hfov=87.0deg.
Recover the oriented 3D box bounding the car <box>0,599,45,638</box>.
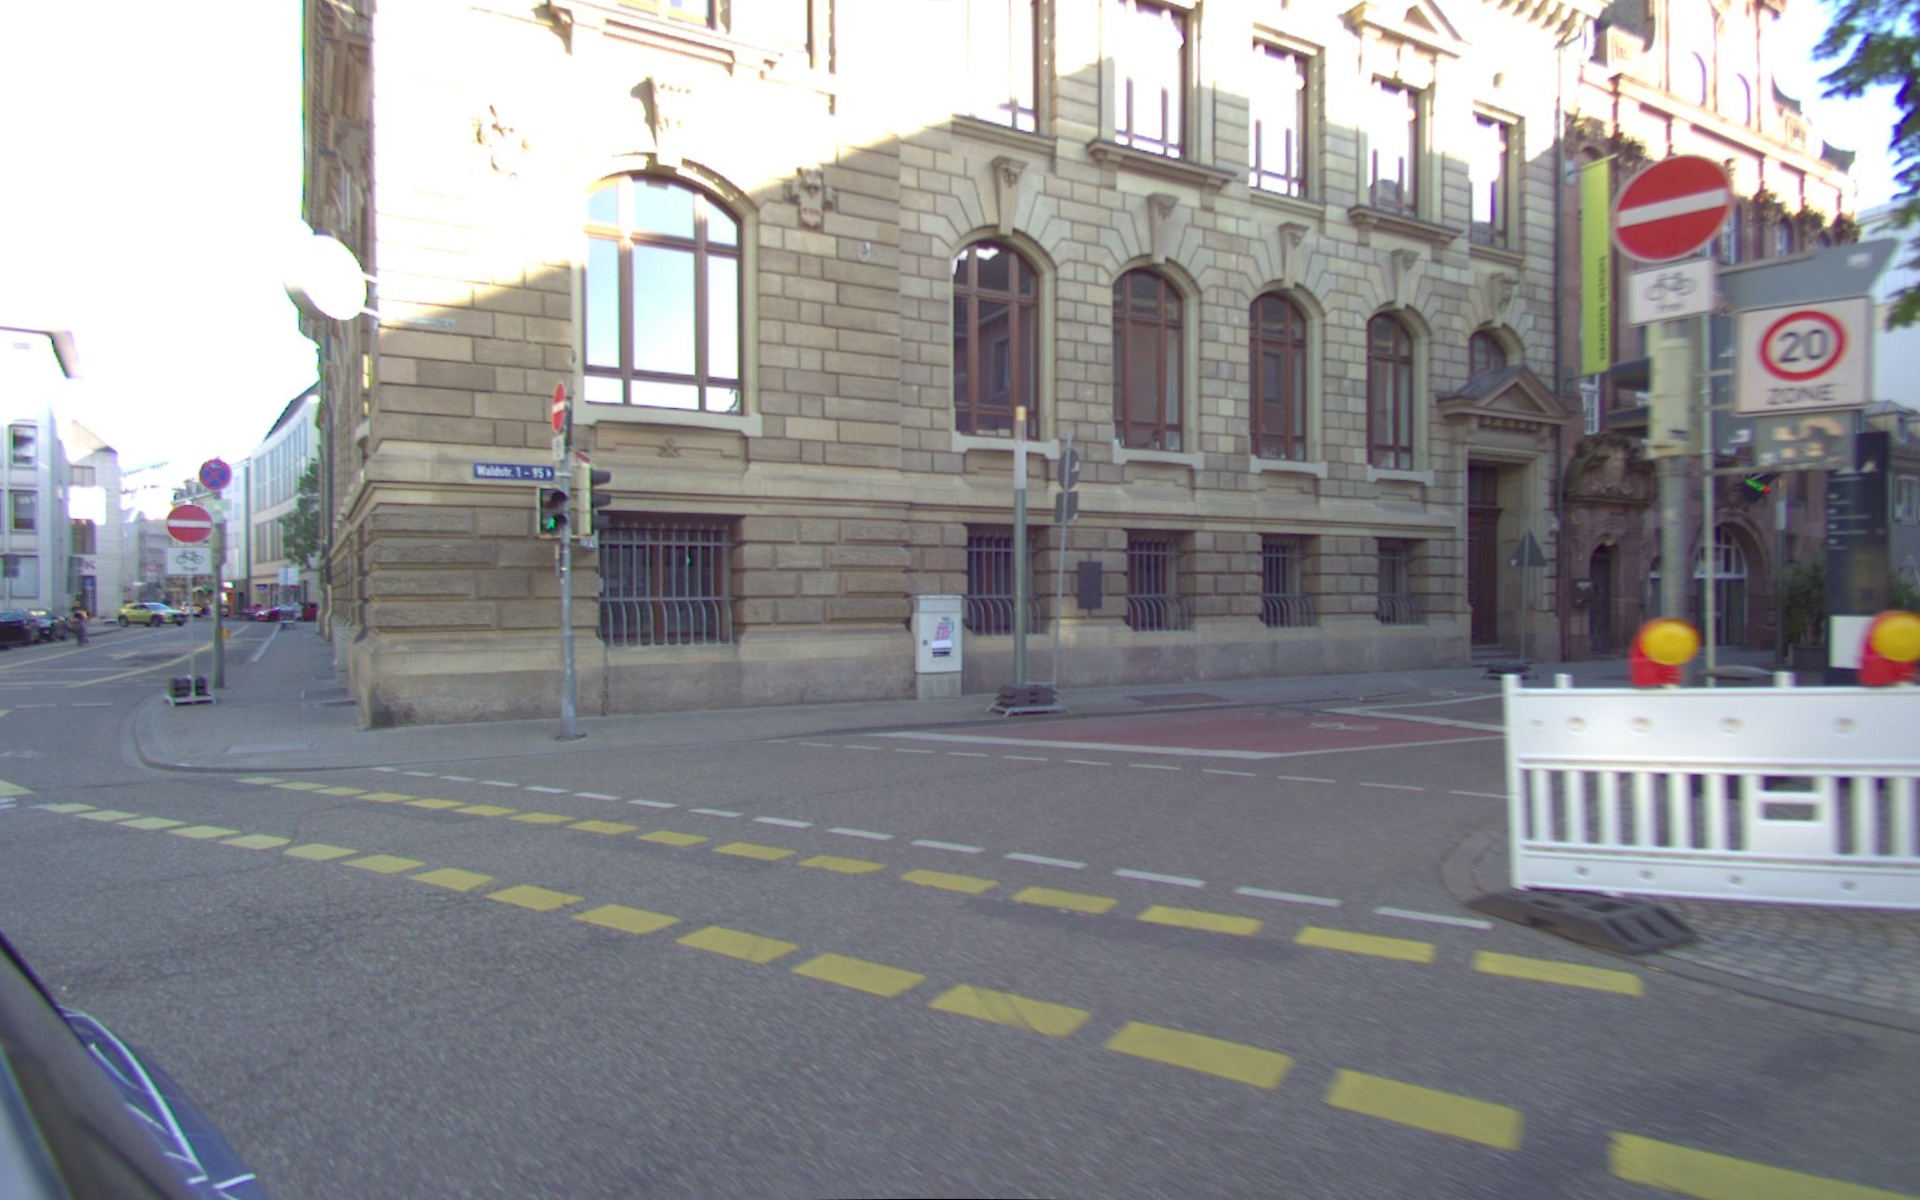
[{"bbox_3d":[-36.452,0.682,38.731,1.605,1.410,3.896,-1,1,-35],"label":"car"}]

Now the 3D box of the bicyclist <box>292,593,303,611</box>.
[{"bbox_3d":[-48.132,0.129,73.526,0.603,1.298,0.539,-1,1,-41],"label":"bicyclist"}]

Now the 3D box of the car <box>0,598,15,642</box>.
[{"bbox_3d":[-33.156,0.709,33.662,1.674,1.481,4.805,-1,1,-33],"label":"car"}]

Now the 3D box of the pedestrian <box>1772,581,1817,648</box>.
[{"bbox_3d":[21.803,0.368,26.456,0.471,1.718,0.778,-1,0,-29],"label":"pedestrian"}]

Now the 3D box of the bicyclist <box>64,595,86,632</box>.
[{"bbox_3d":[-32.057,0.491,36.676,0.529,1.298,0.553,-1,1,-36],"label":"bicyclist"}]

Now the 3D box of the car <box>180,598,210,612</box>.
[{"bbox_3d":[-81.810,0.507,108.249,2.025,1.502,4.274,-1,1,-44],"label":"car"}]

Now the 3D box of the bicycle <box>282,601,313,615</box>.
[{"bbox_3d":[-48.130,0.563,73.518,1.844,0.916,0.536,-3,8,-41],"label":"bicycle"}]

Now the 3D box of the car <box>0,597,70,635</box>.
[{"bbox_3d":[-39.464,0.660,43.192,1.671,1.503,4.266,-1,1,-34],"label":"car"}]

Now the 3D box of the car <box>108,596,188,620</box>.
[{"bbox_3d":[-52.822,0.509,65.864,4.211,1.503,1.848,-1,1,13],"label":"car"}]

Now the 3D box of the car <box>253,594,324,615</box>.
[{"bbox_3d":[-50.644,0.320,76.401,1.633,1.482,4.209,0,1,44],"label":"car"}]

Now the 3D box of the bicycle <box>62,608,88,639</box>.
[{"bbox_3d":[-32.034,0.847,36.640,0.526,1.074,1.429,-1,1,-35],"label":"bicycle"}]

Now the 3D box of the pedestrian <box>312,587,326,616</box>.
[{"bbox_3d":[-39.967,0.066,63.103,0.753,1.793,0.624,-1,1,-32],"label":"pedestrian"}]
